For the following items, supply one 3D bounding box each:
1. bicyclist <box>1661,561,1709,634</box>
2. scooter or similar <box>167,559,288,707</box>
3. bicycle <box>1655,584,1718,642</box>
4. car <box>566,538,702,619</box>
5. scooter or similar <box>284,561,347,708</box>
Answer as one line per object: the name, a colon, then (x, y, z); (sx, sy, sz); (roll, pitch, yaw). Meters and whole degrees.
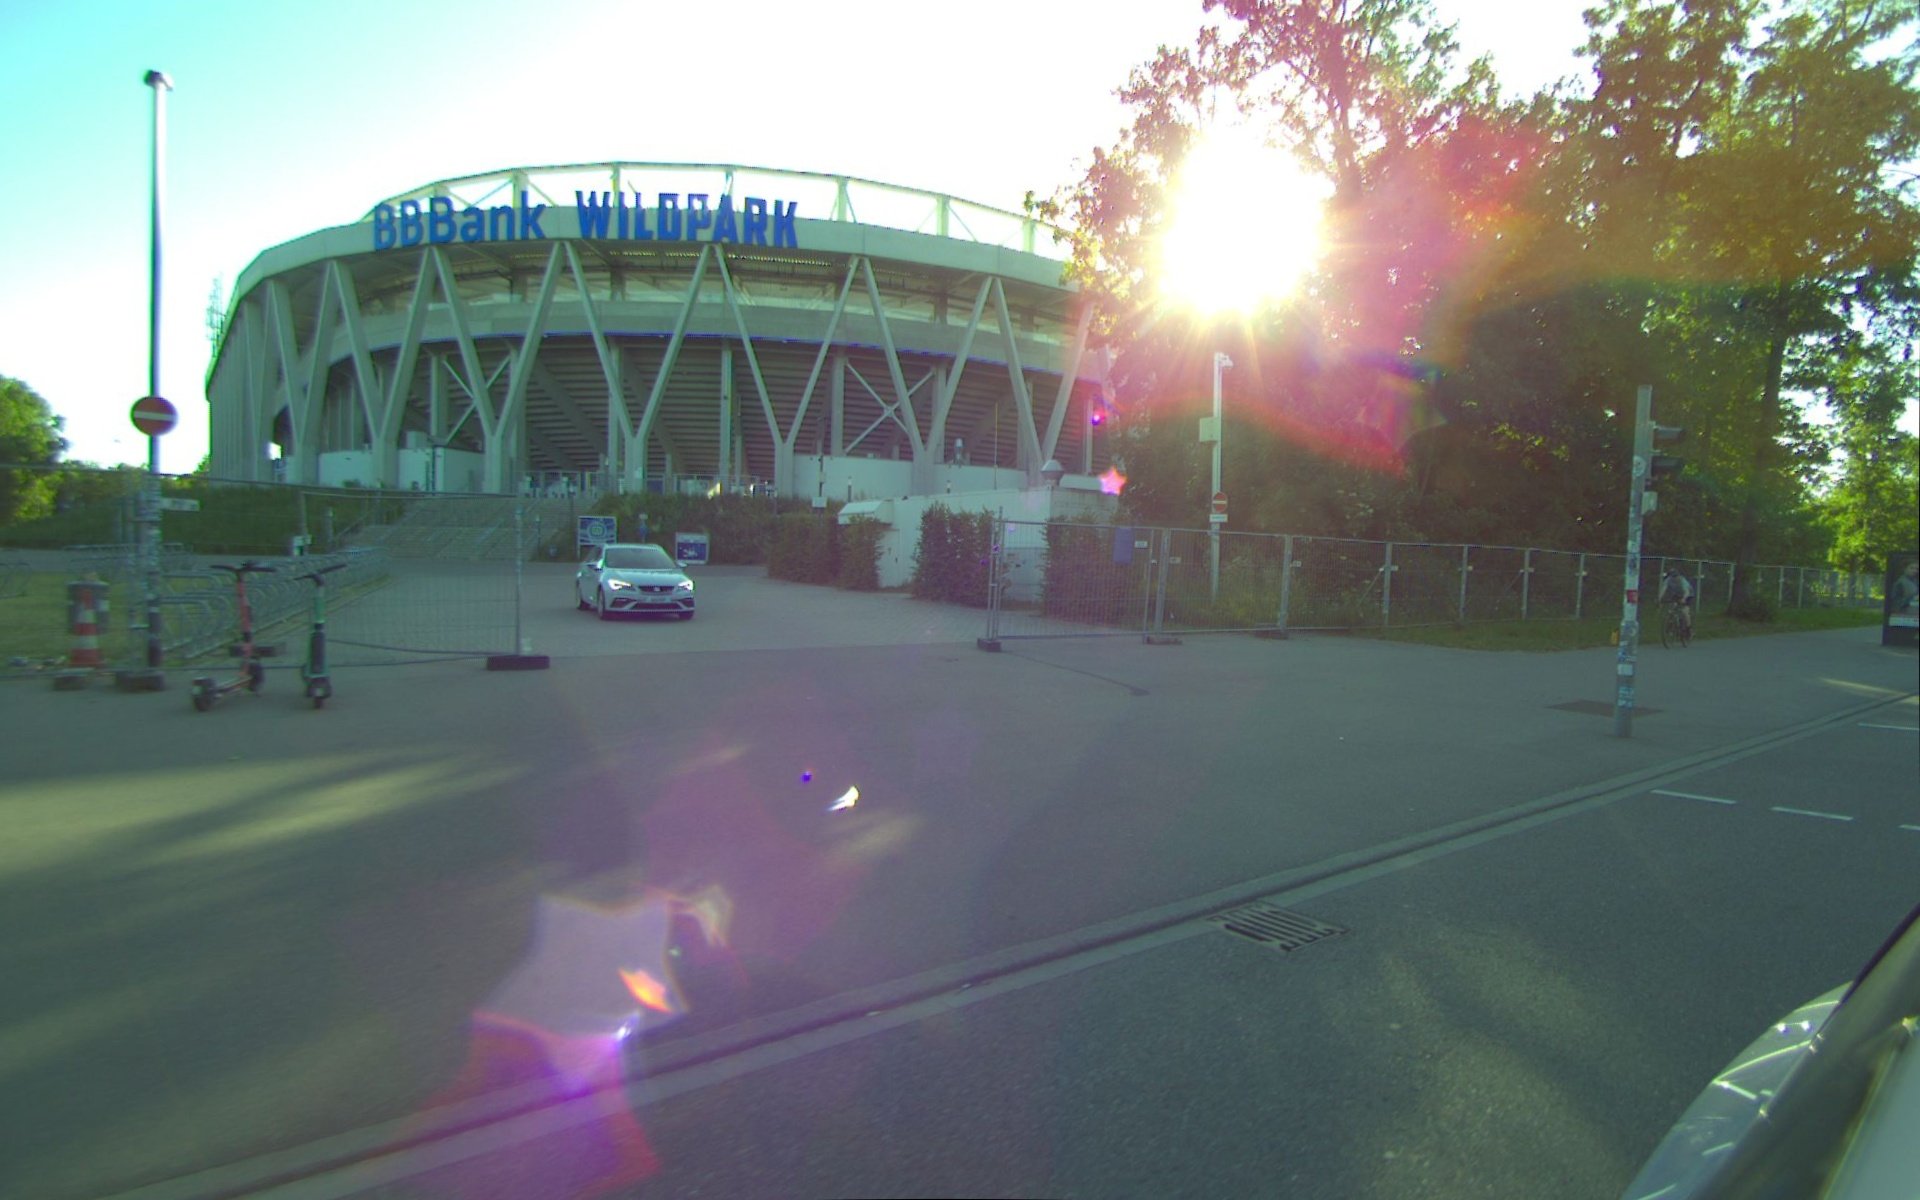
bicyclist: (15.201, -0.065, 21.228); (0.845, 1.486, 0.522); (0, 4, -39)
scooter or similar: (-6.402, 0.246, 8.902); (0.386, 1.181, 1.252); (0, 3, -13)
bicycle: (15.347, 0.257, 21.362); (1.830, 1.151, 0.556); (-1, 3, -39)
car: (-6.673, -0.510, 20.391); (1.783, 1.395, 4.394); (0, 4, -29)
scooter or similar: (-5.733, 0.264, 9.037); (0.386, 1.160, 1.272); (-1, 5, -30)
